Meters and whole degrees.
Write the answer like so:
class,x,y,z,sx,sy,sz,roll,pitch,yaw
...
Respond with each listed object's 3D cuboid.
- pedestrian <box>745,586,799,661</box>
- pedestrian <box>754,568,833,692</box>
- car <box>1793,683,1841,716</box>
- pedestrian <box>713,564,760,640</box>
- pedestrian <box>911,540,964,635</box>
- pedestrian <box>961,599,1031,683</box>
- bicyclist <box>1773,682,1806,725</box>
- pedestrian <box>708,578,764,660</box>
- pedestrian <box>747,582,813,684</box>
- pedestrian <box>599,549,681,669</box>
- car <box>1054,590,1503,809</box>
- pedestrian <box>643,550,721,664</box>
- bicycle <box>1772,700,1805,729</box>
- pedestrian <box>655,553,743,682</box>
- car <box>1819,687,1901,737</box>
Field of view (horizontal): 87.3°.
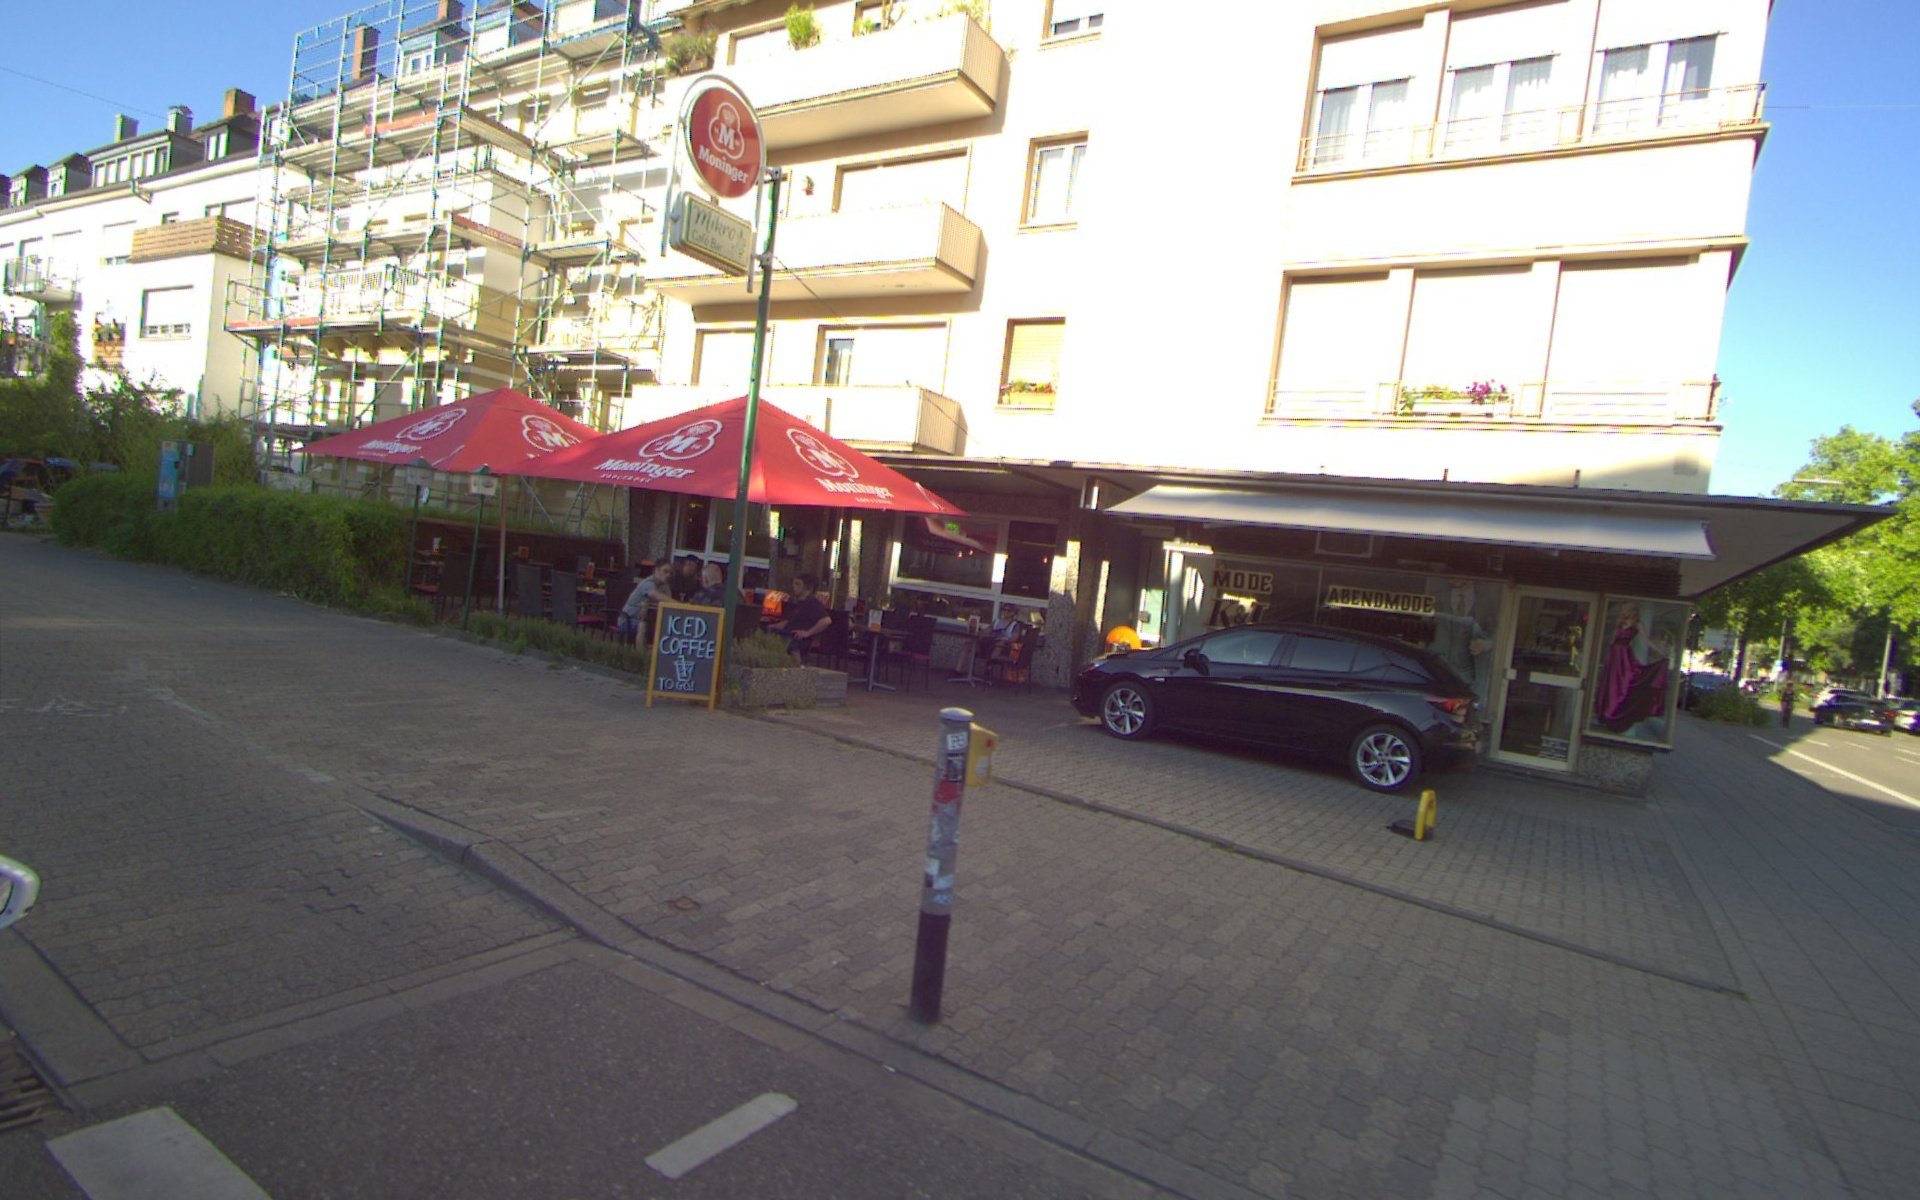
class,x,y,z,sx,sy,sz,roll,pitch,yaw
pedestrian,-2.679,0.340,14.370,0.407,1.003,0.524,8,2,38
pedestrian,-1.859,0.335,11.248,0.531,1.299,0.524,8,2,34
car,53.040,6.144,62.337,1.924,1.682,4.336,8,2,38
pedestrian,-3.719,0.032,16.761,0.407,1.204,0.524,6,1,38
pedestrian,-0.440,-0.251,19.977,0.673,1.798,0.524,8,2,33
pedestrian,0.535,0.616,15.065,0.709,1.165,0.608,8,2,34
bicyclist,31.501,3.914,38.209,0.733,1.523,0.879,8,3,37
pedestrian,-3.100,0.268,13.932,0.407,1.062,0.524,8,2,38
pedestrian,-2.182,0.403,12.203,0.407,1.165,0.524,8,2,38
pedestrian,-3.309,0.096,10.406,0.517,1.165,0.493,8,2,36
car,3.338,0.919,10.783,4.134,1.503,1.829,8,2,32
pedestrian,-3.035,0.079,10.980,0.517,1.165,0.486,8,2,36
bicycle,31.395,4.328,38.157,0.732,0.933,2.390,8,2,37
pedestrian,-2.545,0.169,9.797,0.622,1.165,0.412,8,2,36
car,38.561,4.753,43.207,1.922,1.682,4.340,8,2,35
